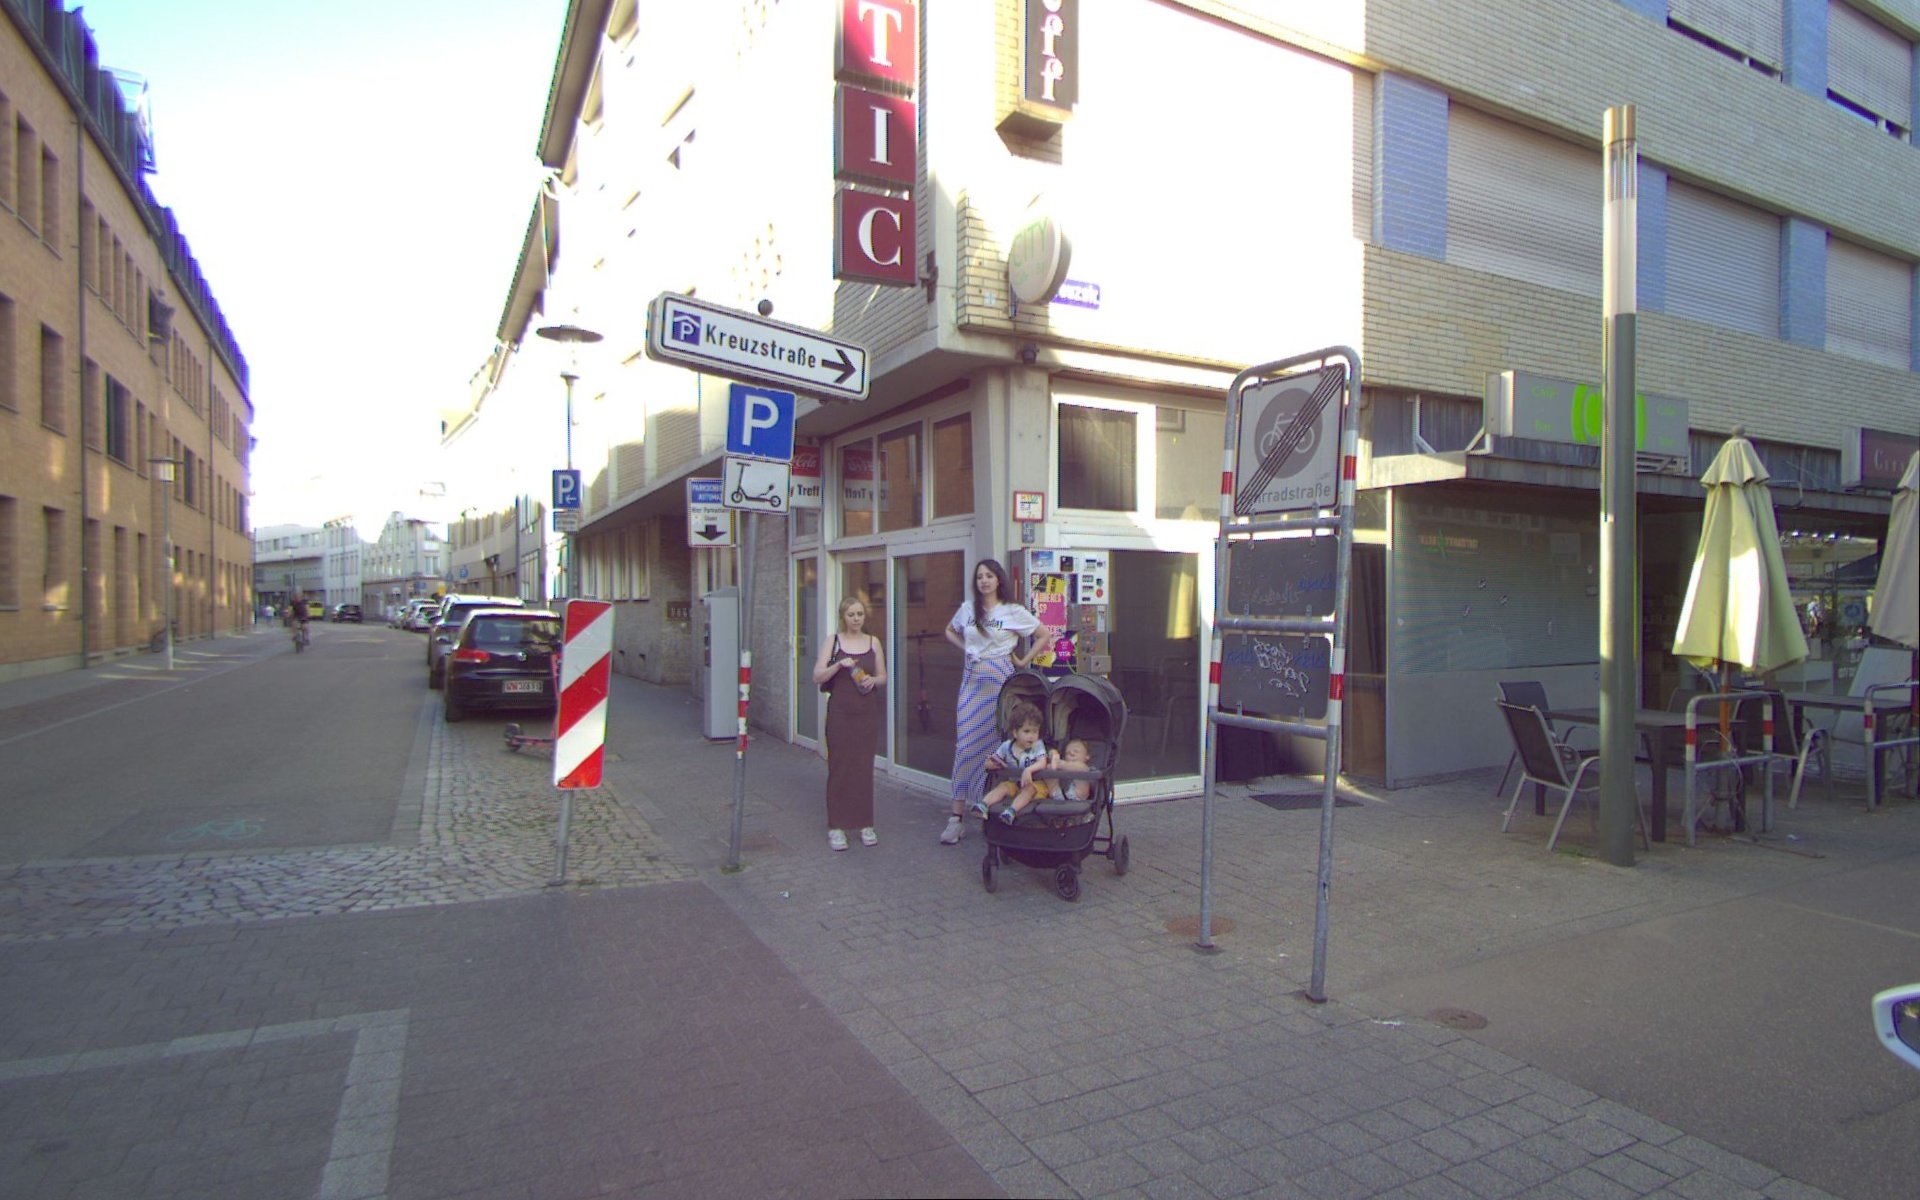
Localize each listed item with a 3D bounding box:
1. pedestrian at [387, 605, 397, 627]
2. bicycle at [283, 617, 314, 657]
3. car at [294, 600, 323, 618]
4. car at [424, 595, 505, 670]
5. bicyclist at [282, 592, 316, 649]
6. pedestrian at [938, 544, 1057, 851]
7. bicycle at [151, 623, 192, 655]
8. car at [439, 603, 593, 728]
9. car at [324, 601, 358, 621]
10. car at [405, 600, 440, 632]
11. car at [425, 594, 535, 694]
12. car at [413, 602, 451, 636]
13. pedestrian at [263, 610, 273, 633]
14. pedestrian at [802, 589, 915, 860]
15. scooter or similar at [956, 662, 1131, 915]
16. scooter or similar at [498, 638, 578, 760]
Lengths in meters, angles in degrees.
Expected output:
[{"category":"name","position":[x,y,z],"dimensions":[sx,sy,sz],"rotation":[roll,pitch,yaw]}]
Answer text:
[{"category":"pedestrian","position":[-37.845,1.072,66.903],"dimensions":[0.566,1.499,0.469],"rotation":[0,0,-36]},{"category":"bicycle","position":[-20.027,1.098,30.425],"dimensions":[0.697,1.118,1.811],"rotation":[-4,1,-33]},{"category":"car","position":[-64.965,0.872,100.140],"dimensions":[1.921,1.673,3.790],"rotation":[2,-1,-41]},{"category":"car","position":[-12.580,0.809,25.411],"dimensions":[1.653,1.727,3.984],"rotation":[2,-2,-28]},{"category":"bicyclist","position":[-20.043,0.609,30.446],"dimensions":[0.765,1.678,0.948],"rotation":[-3,1,-34]},{"category":"pedestrian","position":[0.236,0.594,6.387],"dimensions":[0.647,1.844,0.571],"rotation":[-2,1,2]},{"category":"bicycle","position":[-24.008,1.166,30.611],"dimensions":[0.636,0.893,2.536],"rotation":[1,-1,-30]},{"category":"car","position":[-6.440,0.835,14.358],"dimensions":[1.719,1.505,3.784],"rotation":[3,-1,-28]},{"category":"car","position":[-54.233,0.967,87.929],"dimensions":[1.921,1.673,3.790],"rotation":[0,0,-42]},{"category":"car","position":[-31.676,0.951,59.198],"dimensions":[1.674,1.798,3.627],"rotation":[3,-2,-30]},{"category":"car","position":[-9.138,0.786,18.997],"dimensions":[1.653,1.683,4.051],"rotation":[2,-2,-28]},{"category":"car","position":[-28.669,1.016,54.483],"dimensions":[1.674,1.701,3.480],"rotation":[3,-2,-30]},{"category":"pedestrian","position":[-47.866,1.489,69.493],"dimensions":[0.537,1.565,0.402],"rotation":[1,-1,-30]},{"category":"pedestrian","position":[-0.649,0.746,6.334],"dimensions":[0.526,1.601,0.508],"rotation":[-3,1,-22]},{"category":"scooter or similar","position":[0.486,0.952,5.453],"dimensions":[0.783,1.159,0.954],"rotation":[0,1,15]},{"category":"scooter or similar","position":[-4.335,1.003,10.321],"dimensions":[0.865,1.199,0.208],"rotation":[0,0,22]}]
